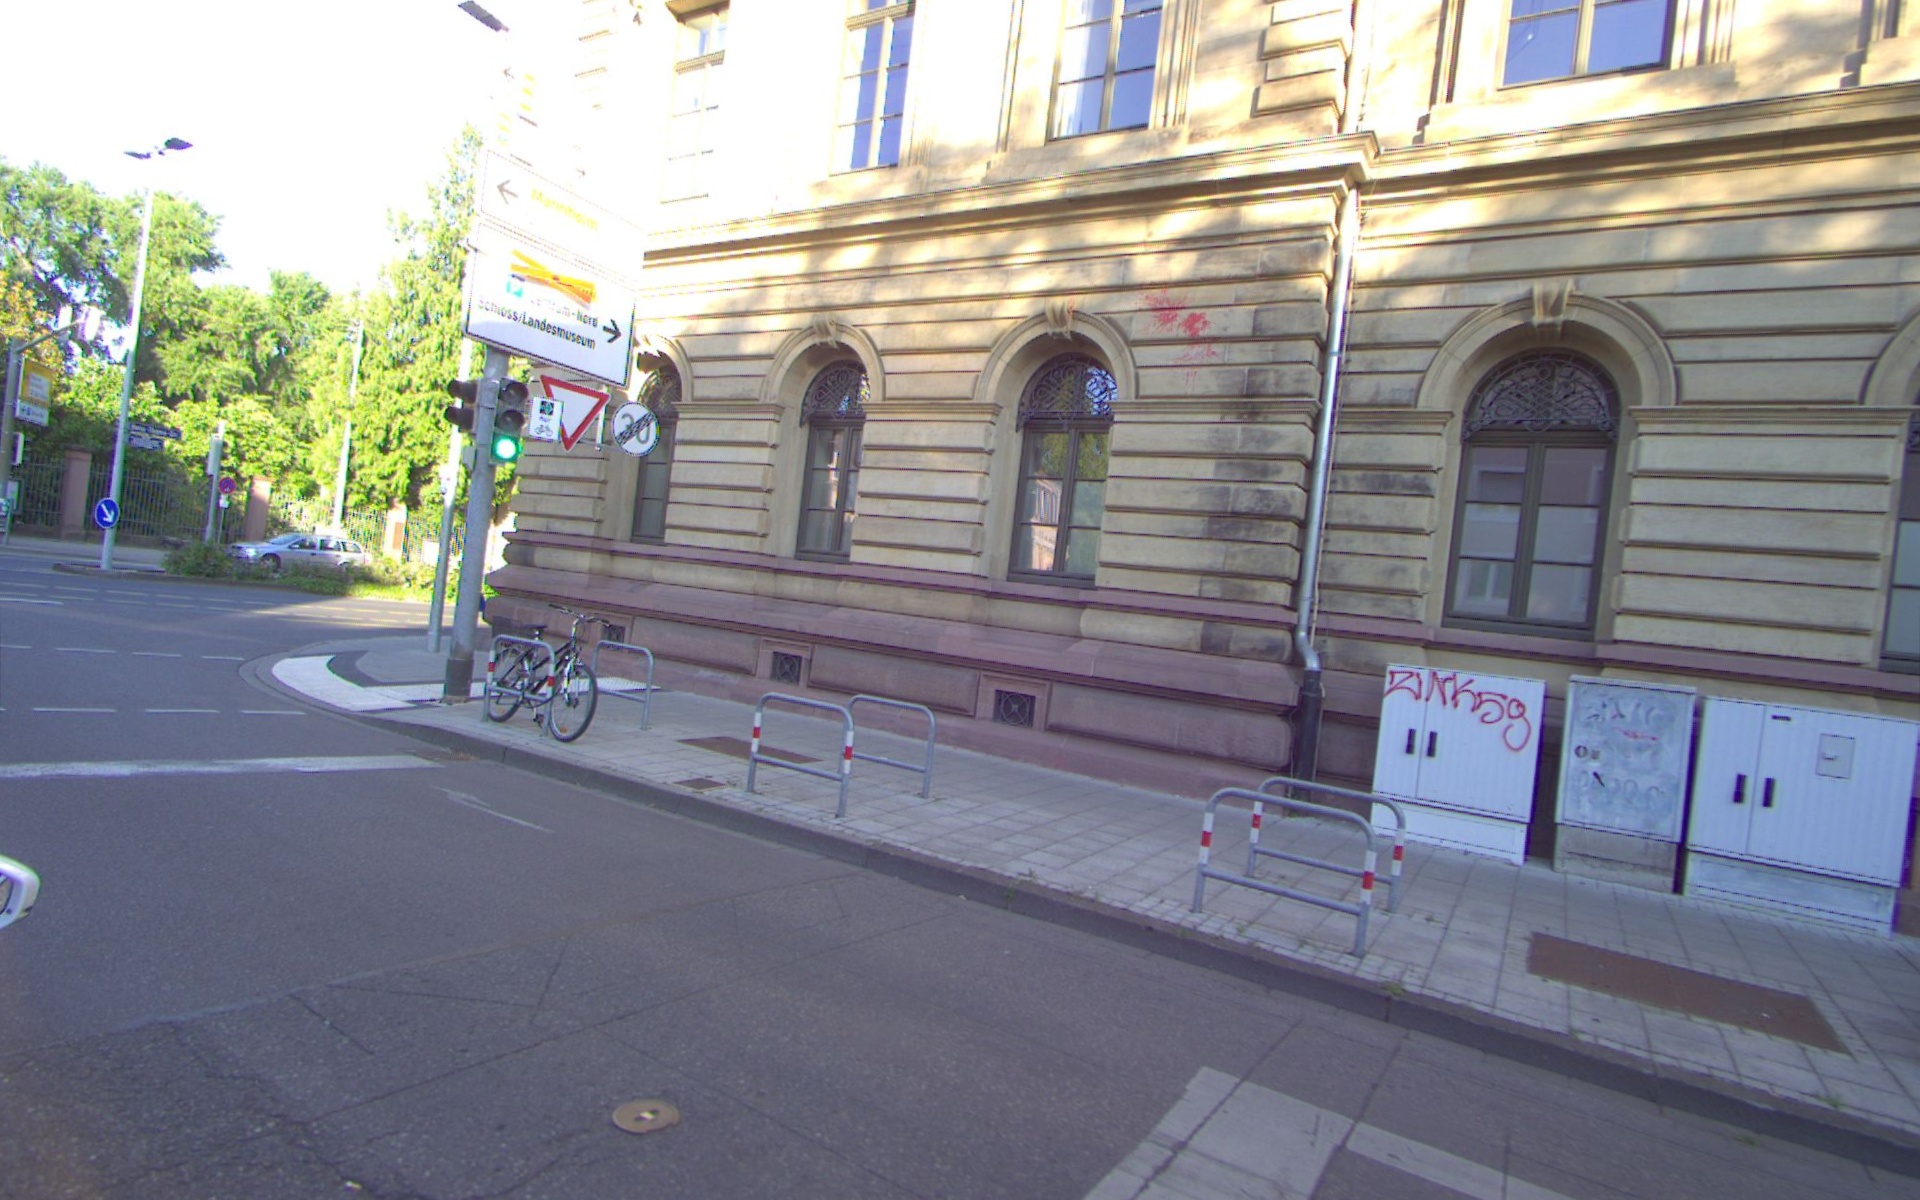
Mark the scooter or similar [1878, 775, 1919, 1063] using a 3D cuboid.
[{"bbox_3d":[4.702,1.438,4.553,1.124,1.211,0.577,4,2,-41],"label":"scooter or similar"}]

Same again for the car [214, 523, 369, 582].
[{"bbox_3d":[-23.491,-1.623,35.525,1.685,1.462,4.195,7,-1,27],"label":"car"}]

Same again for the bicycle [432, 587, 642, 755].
[{"bbox_3d":[-3.655,0.575,8.626,1.889,1.203,0.583,5,-1,32],"label":"bicycle"}]
